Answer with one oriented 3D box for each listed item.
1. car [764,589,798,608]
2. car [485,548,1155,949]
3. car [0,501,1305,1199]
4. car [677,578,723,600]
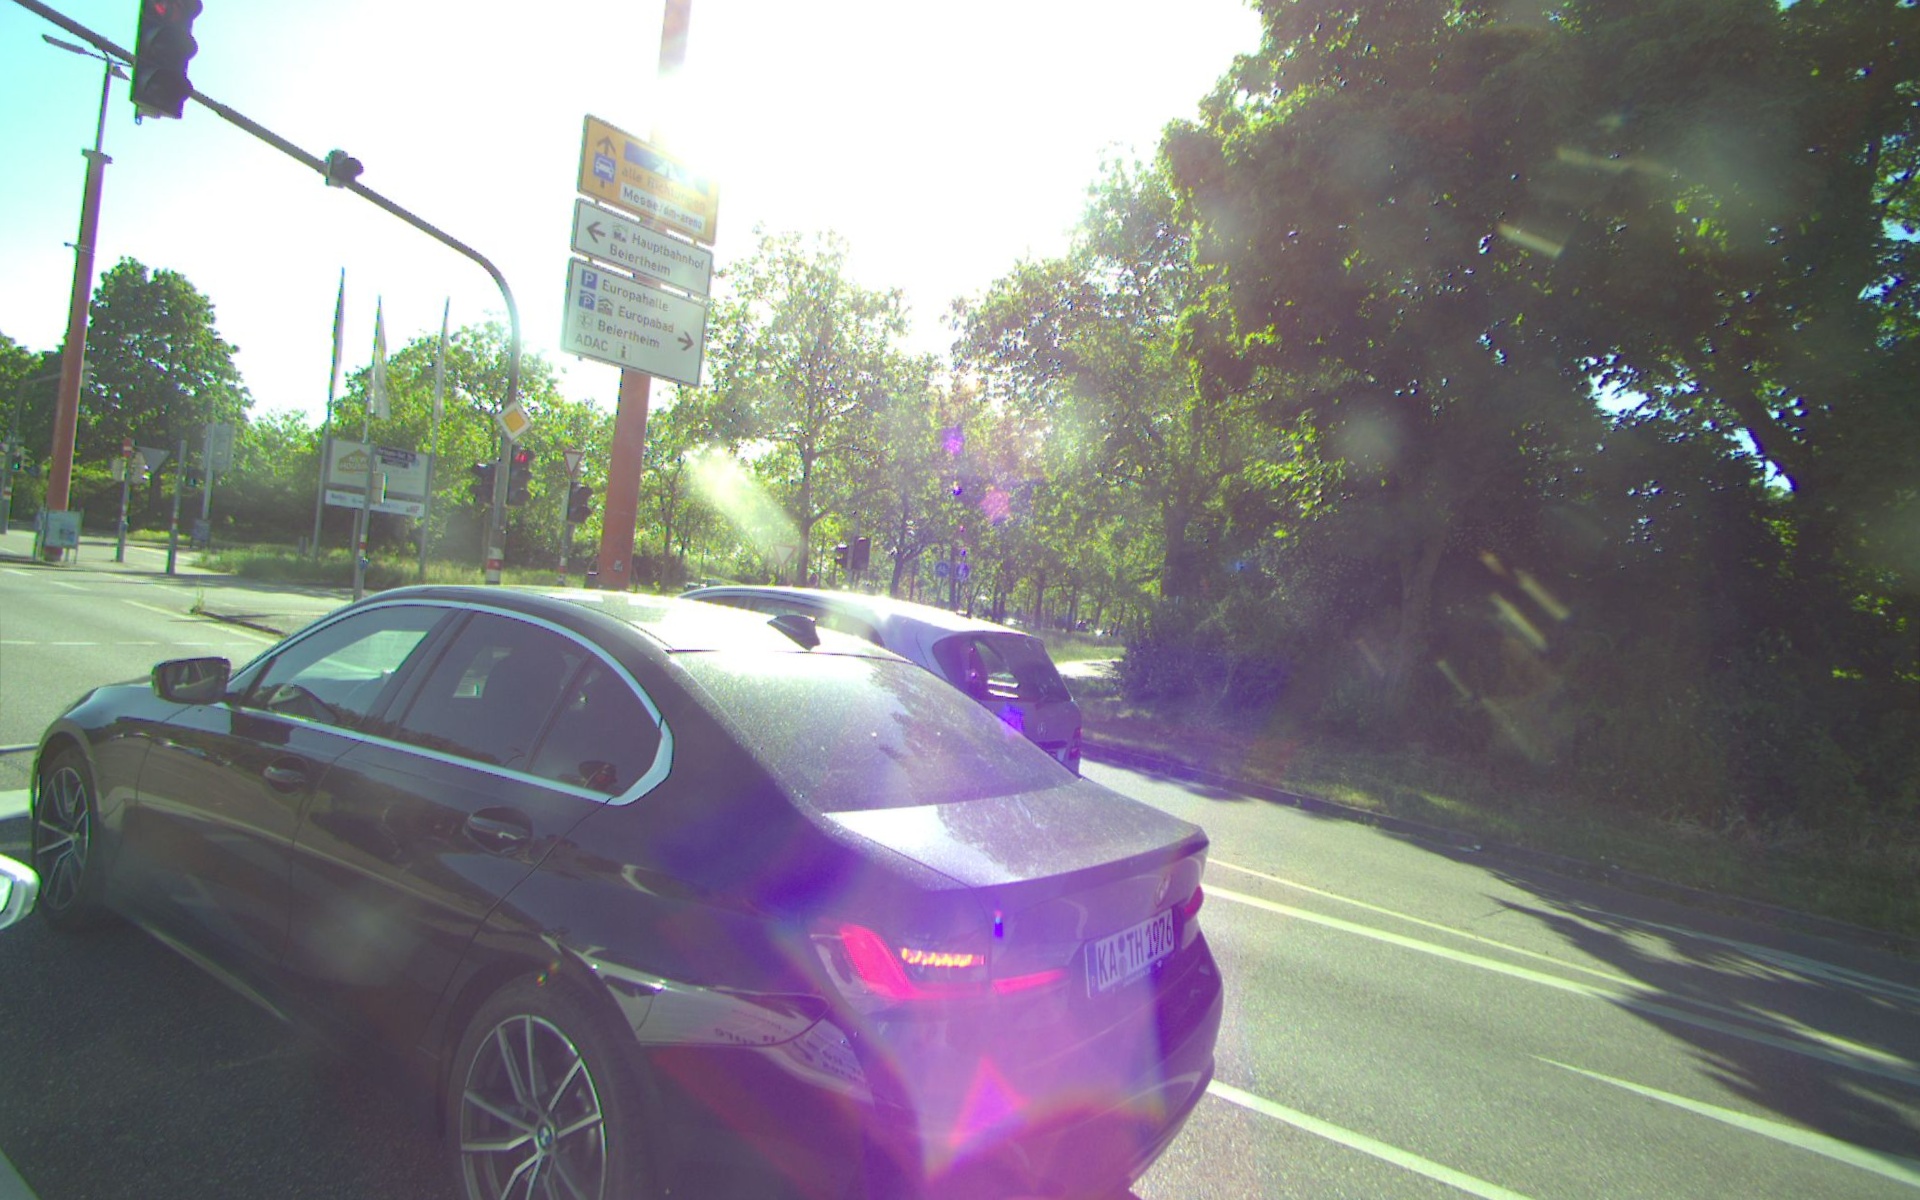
[{"bbox_3d":[-17.901,-0.143,100.761,1.652,1.485,3.997,7,-1,14],"label":"car"},{"bbox_3d":[-1.015,0.706,6.472,3.963,1.597,1.741,7,0,33],"label":"car"},{"bbox_3d":[-1.368,0.615,3.407,4.371,1.415,1.871,7,0,33],"label":"car"},{"bbox_3d":[-22.182,-0.925,85.974,1.751,1.503,4.332,7,-1,16],"label":"car"}]
